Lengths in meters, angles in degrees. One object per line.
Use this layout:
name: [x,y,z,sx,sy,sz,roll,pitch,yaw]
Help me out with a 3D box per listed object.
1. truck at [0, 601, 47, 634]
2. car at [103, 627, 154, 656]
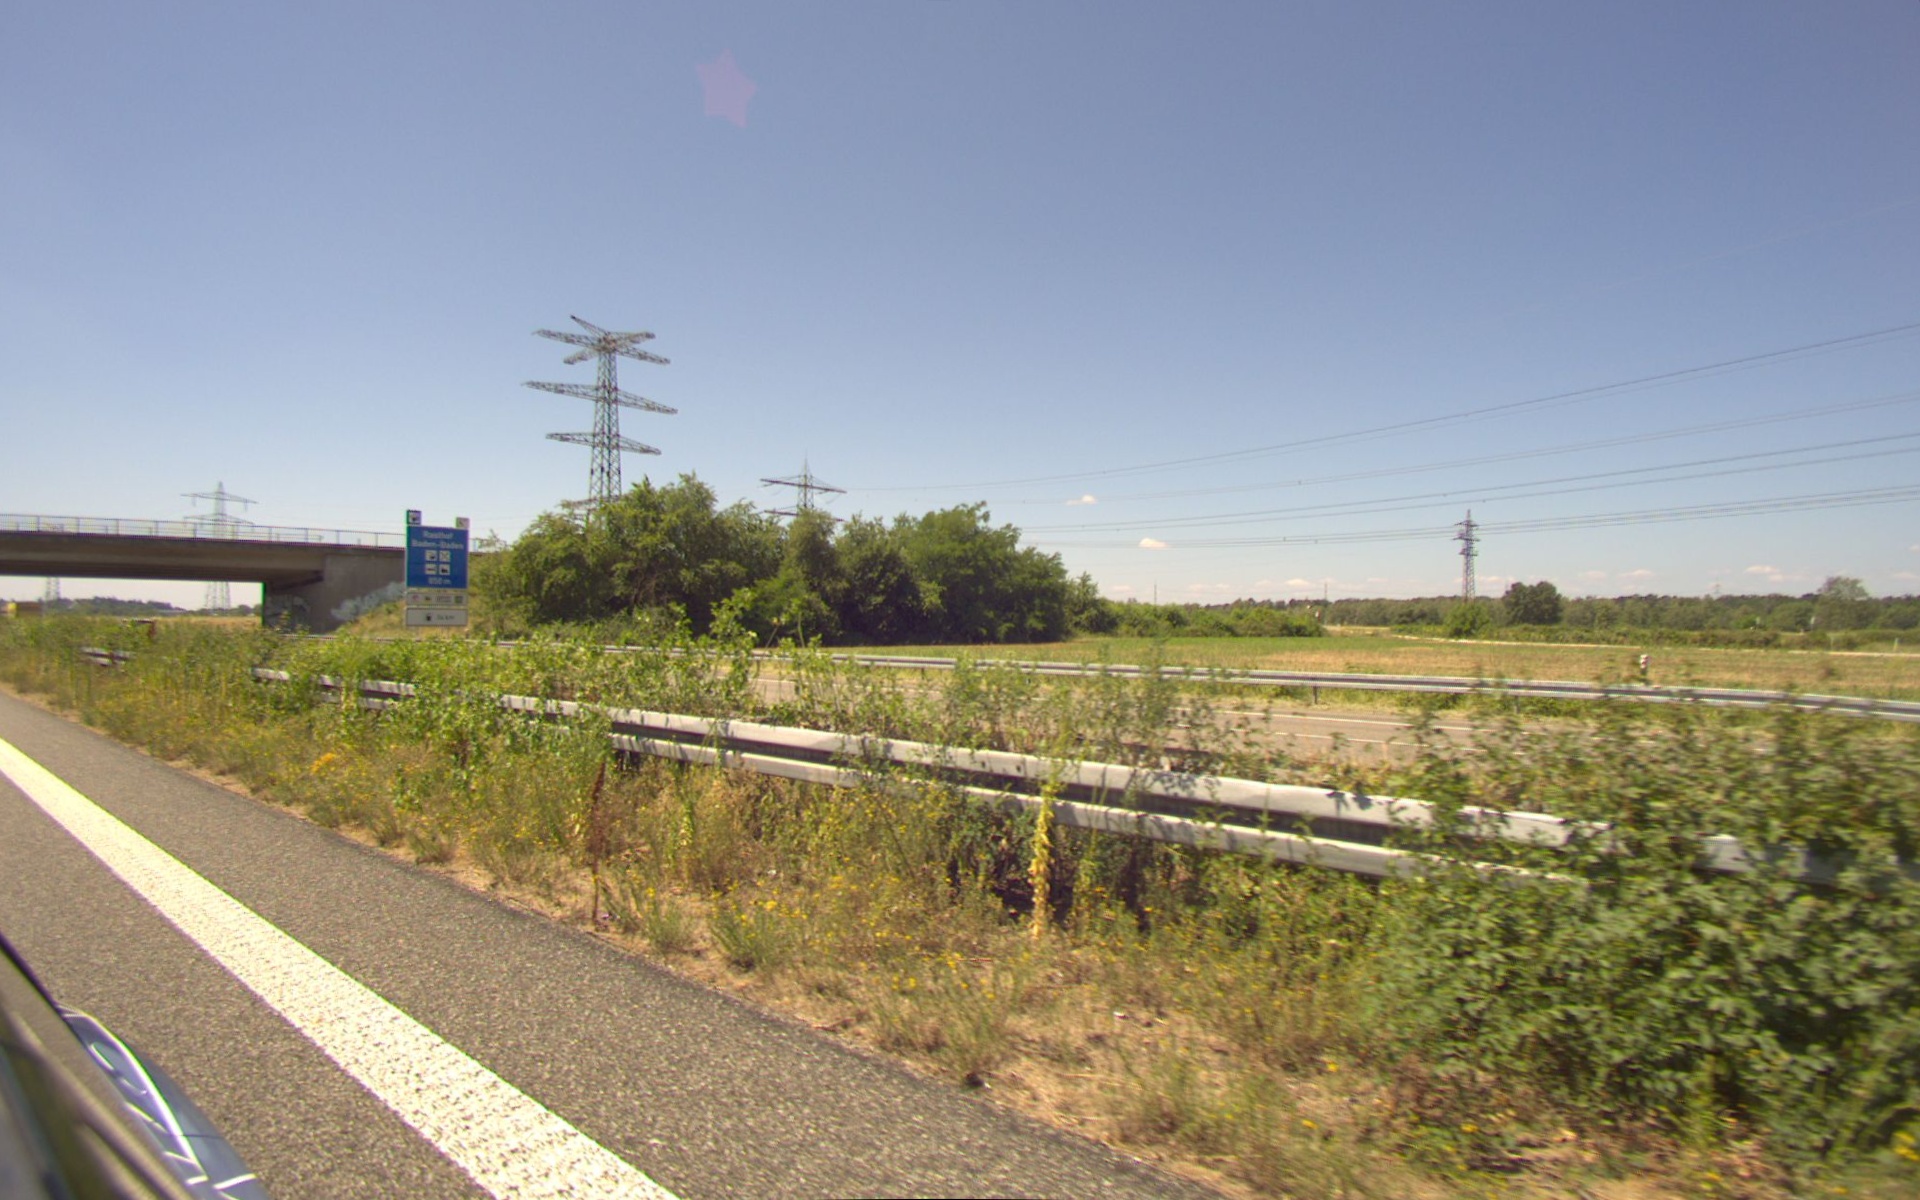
truck: [-114.338,2.085,123.465,8.658,3.892,3.475,-1,-1,42]
car: [-51.678,2.547,62.887,4.010,1.664,1.822,-2,-1,41]
